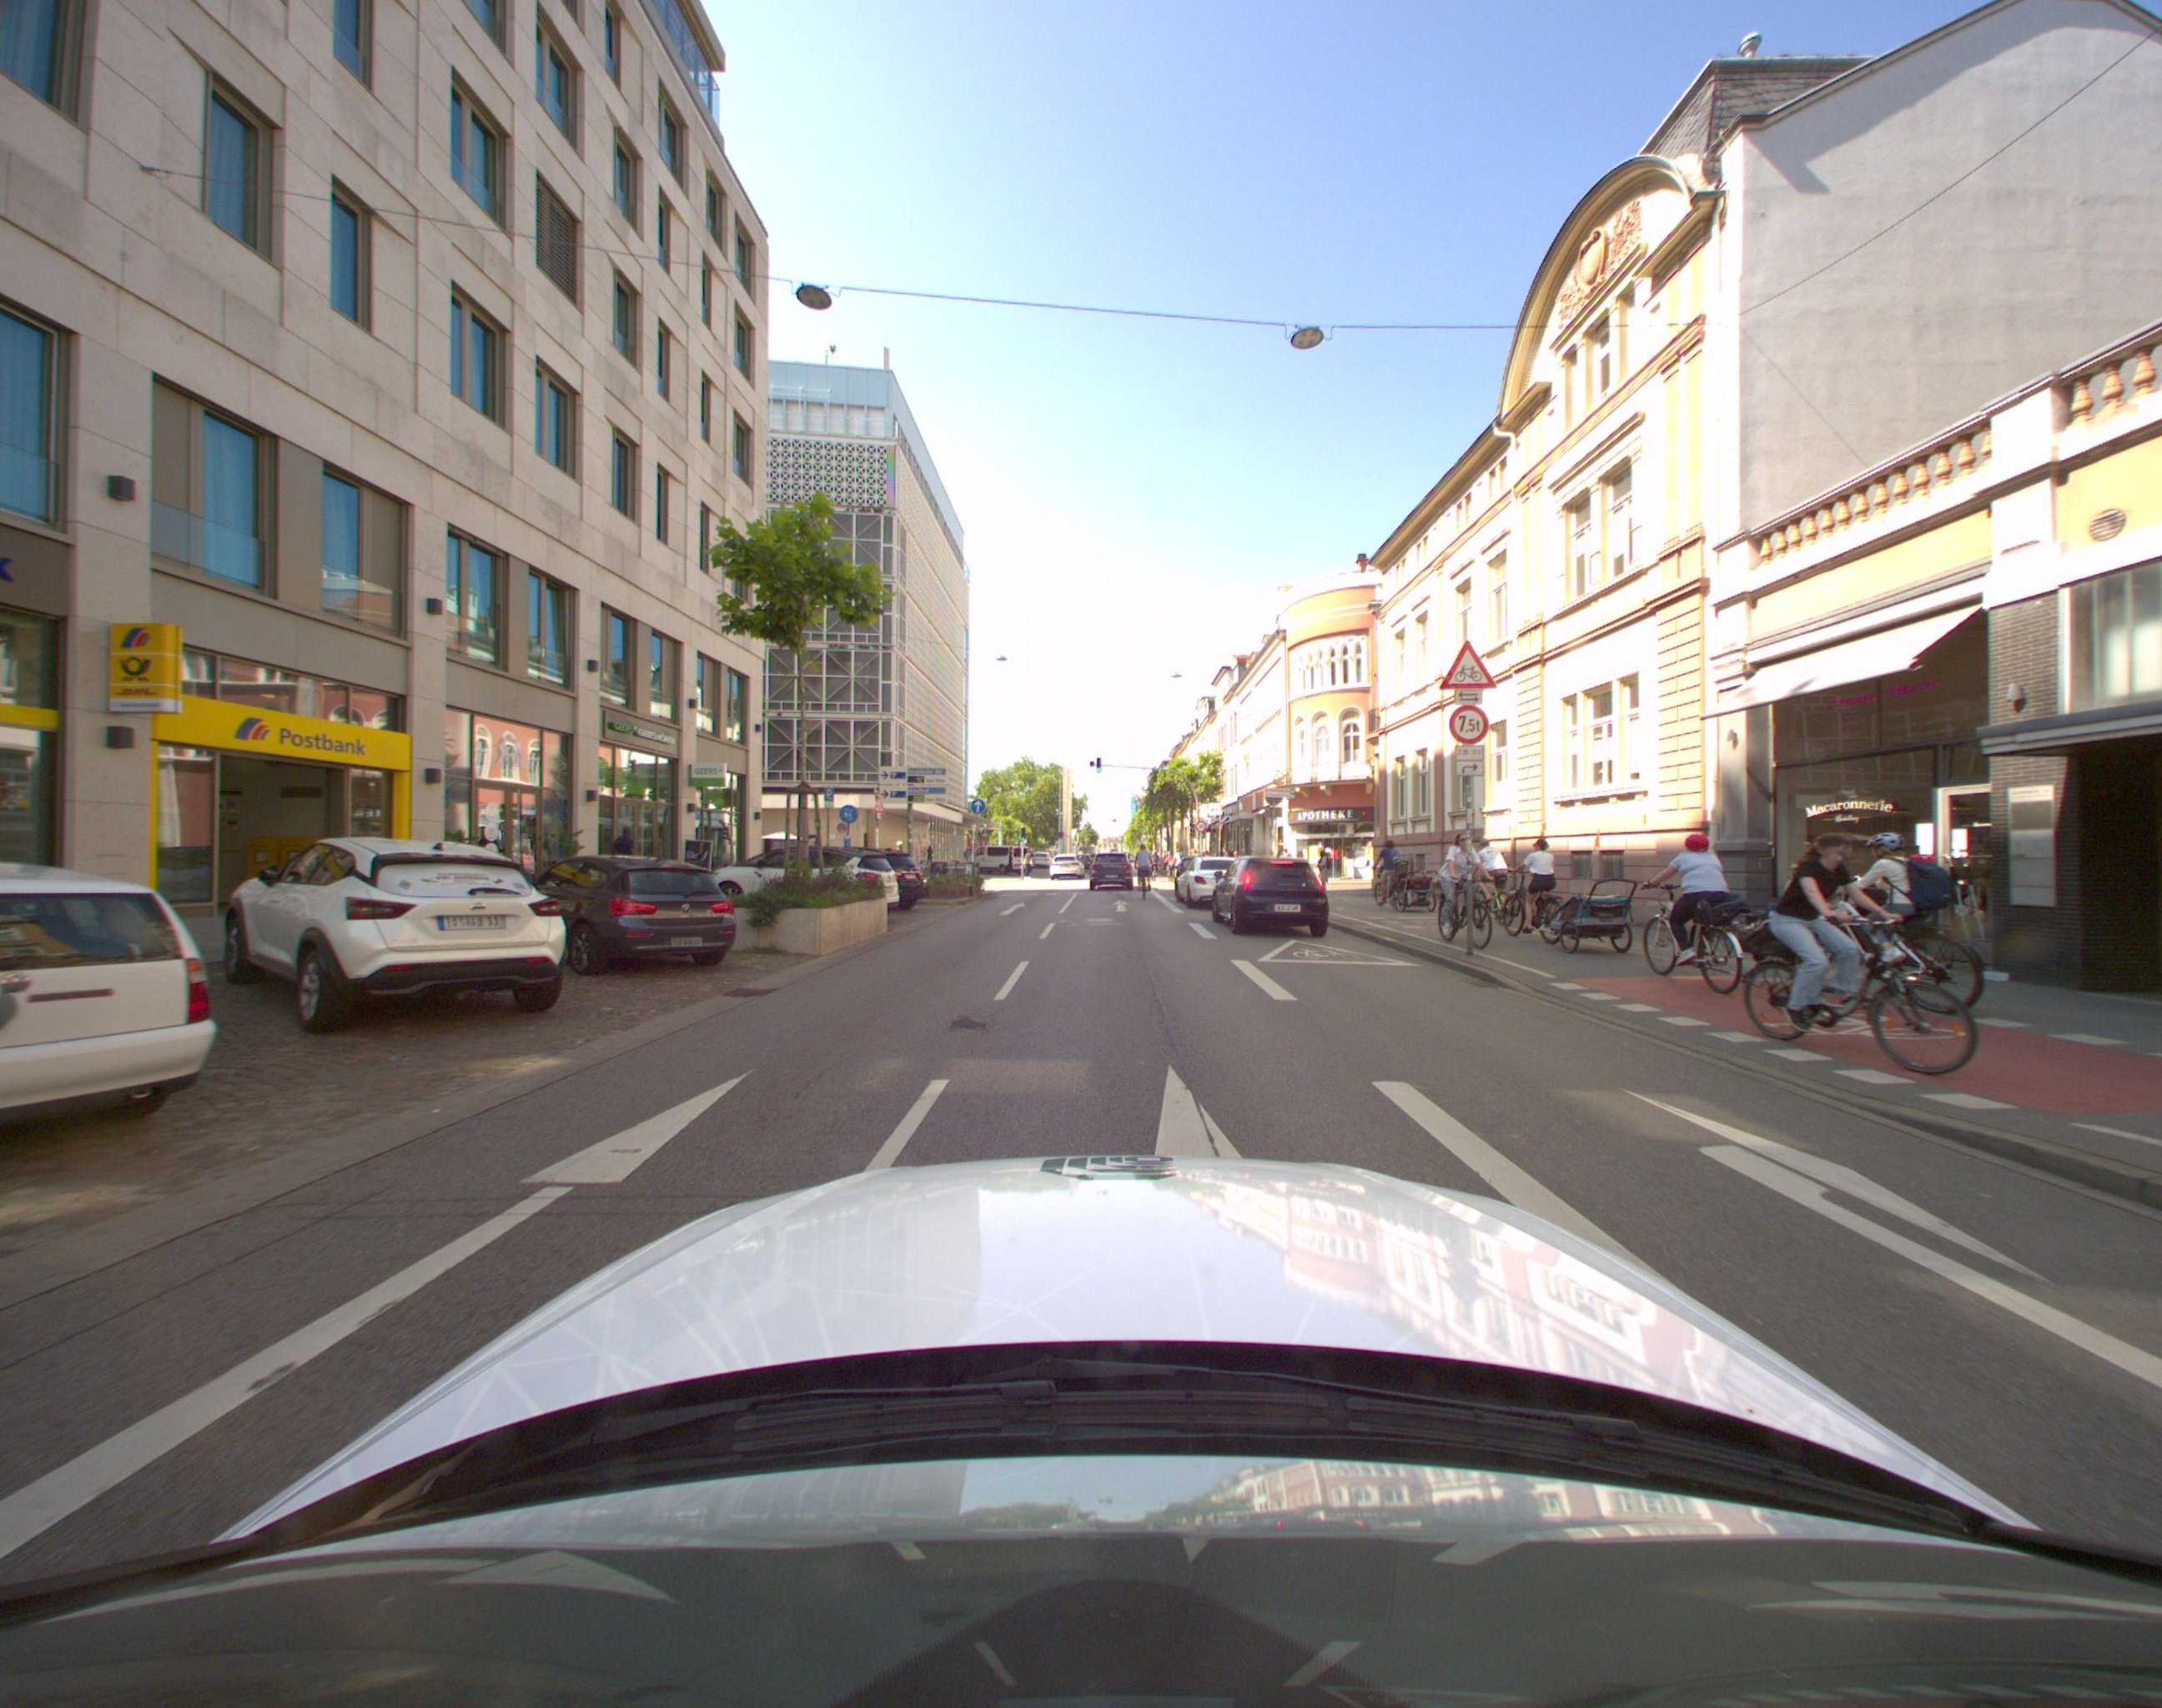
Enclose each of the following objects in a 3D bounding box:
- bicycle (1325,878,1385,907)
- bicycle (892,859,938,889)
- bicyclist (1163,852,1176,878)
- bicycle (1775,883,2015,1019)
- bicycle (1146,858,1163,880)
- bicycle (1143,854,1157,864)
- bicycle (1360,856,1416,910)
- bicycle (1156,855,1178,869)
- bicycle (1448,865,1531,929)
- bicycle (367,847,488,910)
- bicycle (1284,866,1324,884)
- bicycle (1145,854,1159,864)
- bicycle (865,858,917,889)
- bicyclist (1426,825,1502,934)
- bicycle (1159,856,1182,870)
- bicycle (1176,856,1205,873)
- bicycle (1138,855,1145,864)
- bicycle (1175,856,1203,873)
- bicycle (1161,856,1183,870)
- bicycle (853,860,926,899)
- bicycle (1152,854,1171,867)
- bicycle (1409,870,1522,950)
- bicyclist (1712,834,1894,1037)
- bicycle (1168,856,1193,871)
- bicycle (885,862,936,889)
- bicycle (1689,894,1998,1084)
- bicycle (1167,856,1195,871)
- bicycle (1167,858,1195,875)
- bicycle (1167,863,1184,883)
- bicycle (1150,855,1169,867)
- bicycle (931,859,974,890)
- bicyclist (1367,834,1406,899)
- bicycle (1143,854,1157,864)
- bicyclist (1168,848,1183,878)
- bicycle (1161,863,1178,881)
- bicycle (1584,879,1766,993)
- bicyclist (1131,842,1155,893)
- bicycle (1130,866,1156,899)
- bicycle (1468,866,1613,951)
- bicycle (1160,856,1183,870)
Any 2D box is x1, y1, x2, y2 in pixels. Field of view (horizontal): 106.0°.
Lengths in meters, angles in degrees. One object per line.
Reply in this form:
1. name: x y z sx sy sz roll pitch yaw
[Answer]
1. bicycle: 12.361 1.728 36.797 2.545 1.127 0.630 2 -5 18
2. bicycle: -6.640 0.788 32.493 2.038 1.169 0.609 -1 -1 38
3. bicyclist: 4.733 0.595 43.453 0.598 1.358 0.720 1 -1 -1
4. bicycle: 8.049 0.896 8.190 0.603 1.127 1.861 -2 0 3
5. bicycle: 3.919 0.814 43.597 0.696 1.127 2.080 2 0 -1
6. bicycle: 9.153 0.665 107.769 1.835 1.201 0.609 0 0 4
7. bicycle: 8.039 0.723 21.454 0.729 1.268 2.284 1 1 3
8. bicycle: 7.666 0.719 72.625 1.837 1.127 0.496 2 1 -6
9. bicycle: 8.219 0.835 16.482 0.569 1.127 2.076 -2 1 -2
10. bicycle: -12.511 0.433 15.691 0.493 1.107 2.162 2 0 2
11. bicycle: 10.715 1.022 39.132 1.814 0.844 0.501 -1 0 2
12. bicycle: 8.755 0.629 100.102 1.720 1.217 0.478 0 0 4
13. bicycle: -7.328 0.742 31.367 2.038 1.127 0.651 0 0 28
14. bicyclist: 6.235 0.408 13.314 0.743 1.702 1.036 -1 -1 2
15. bicycle: 7.262 0.752 65.962 1.833 1.093 0.565 1 -1 2
16. bicycle: 7.117 0.685 52.935 1.829 1.127 0.668 0 -1 9
17. bicycle: 6.284 0.565 84.700 0.644 0.998 2.032 0 0 2
18. bicycle: 7.086 0.687 53.518 1.832 1.127 0.667 0 -1 3
19. bicycle: 7.233 0.708 64.607 1.853 1.127 0.587 1 -2 -34
20. bicycle: -5.980 0.794 25.447 2.131 1.127 0.485 2 1 3
21. bicycle: 7.975 0.656 80.649 1.829 1.197 0.675 1 0 9
22. bicycle: 6.231 0.860 13.391 0.738 1.127 2.576 -2 -1 3
23. bicyclist: 5.954 0.640 6.770 0.743 1.573 0.845 -1 -1 2
24. bicycle: 7.596 0.706 62.265 1.831 1.127 0.449 0 -1 4
25. bicycle: -7.297 0.907 34.967 1.975 1.127 0.801 0 1 8
26. bicycle: 5.901 0.959 6.517 0.592 1.127 2.096 -2 1 3
27. bicycle: 7.425 0.714 60.294 1.971 1.127 0.764 -1 -1 14
28. bicycle: 6.722 0.871 54.665 1.832 1.127 0.667 0 -1 3
29. bicycle: 4.732 0.947 40.846 0.628 0.980 2.089 0 0 2
30. bicycle: 7.852 0.699 81.720 1.827 1.127 0.499 1 -1 13
31. bicycle: -5.064 0.791 31.989 0.608 1.173 2.039 2 -1 -43
32. bicyclist: 8.032 0.333 21.404 0.728 1.673 0.775 -1 -1 2
33. bicycle: 9.096 0.657 107.265 1.835 1.201 0.545 0 0 4
34. bicyclist: 4.728 0.433 40.855 0.628 1.481 1.199 0 0 1
35. bicycle: 4.720 0.972 43.449 0.598 0.926 2.086 1 -1 -1
36. bicycle: 6.914 0.902 9.640 0.732 1.127 2.035 -2 0 3
37. bicyclist: 2.028 0.439 26.743 0.771 1.635 0.852 0 0 2
38. bicycle: 2.034 0.910 26.760 0.771 1.006 2.331 0 0 2
39. bicycle: 7.541 0.823 13.626 0.745 1.127 3.244 -2 1 3
40. bicycle: 7.534 0.774 67.670 1.839 1.093 0.563 1 -1 -9
